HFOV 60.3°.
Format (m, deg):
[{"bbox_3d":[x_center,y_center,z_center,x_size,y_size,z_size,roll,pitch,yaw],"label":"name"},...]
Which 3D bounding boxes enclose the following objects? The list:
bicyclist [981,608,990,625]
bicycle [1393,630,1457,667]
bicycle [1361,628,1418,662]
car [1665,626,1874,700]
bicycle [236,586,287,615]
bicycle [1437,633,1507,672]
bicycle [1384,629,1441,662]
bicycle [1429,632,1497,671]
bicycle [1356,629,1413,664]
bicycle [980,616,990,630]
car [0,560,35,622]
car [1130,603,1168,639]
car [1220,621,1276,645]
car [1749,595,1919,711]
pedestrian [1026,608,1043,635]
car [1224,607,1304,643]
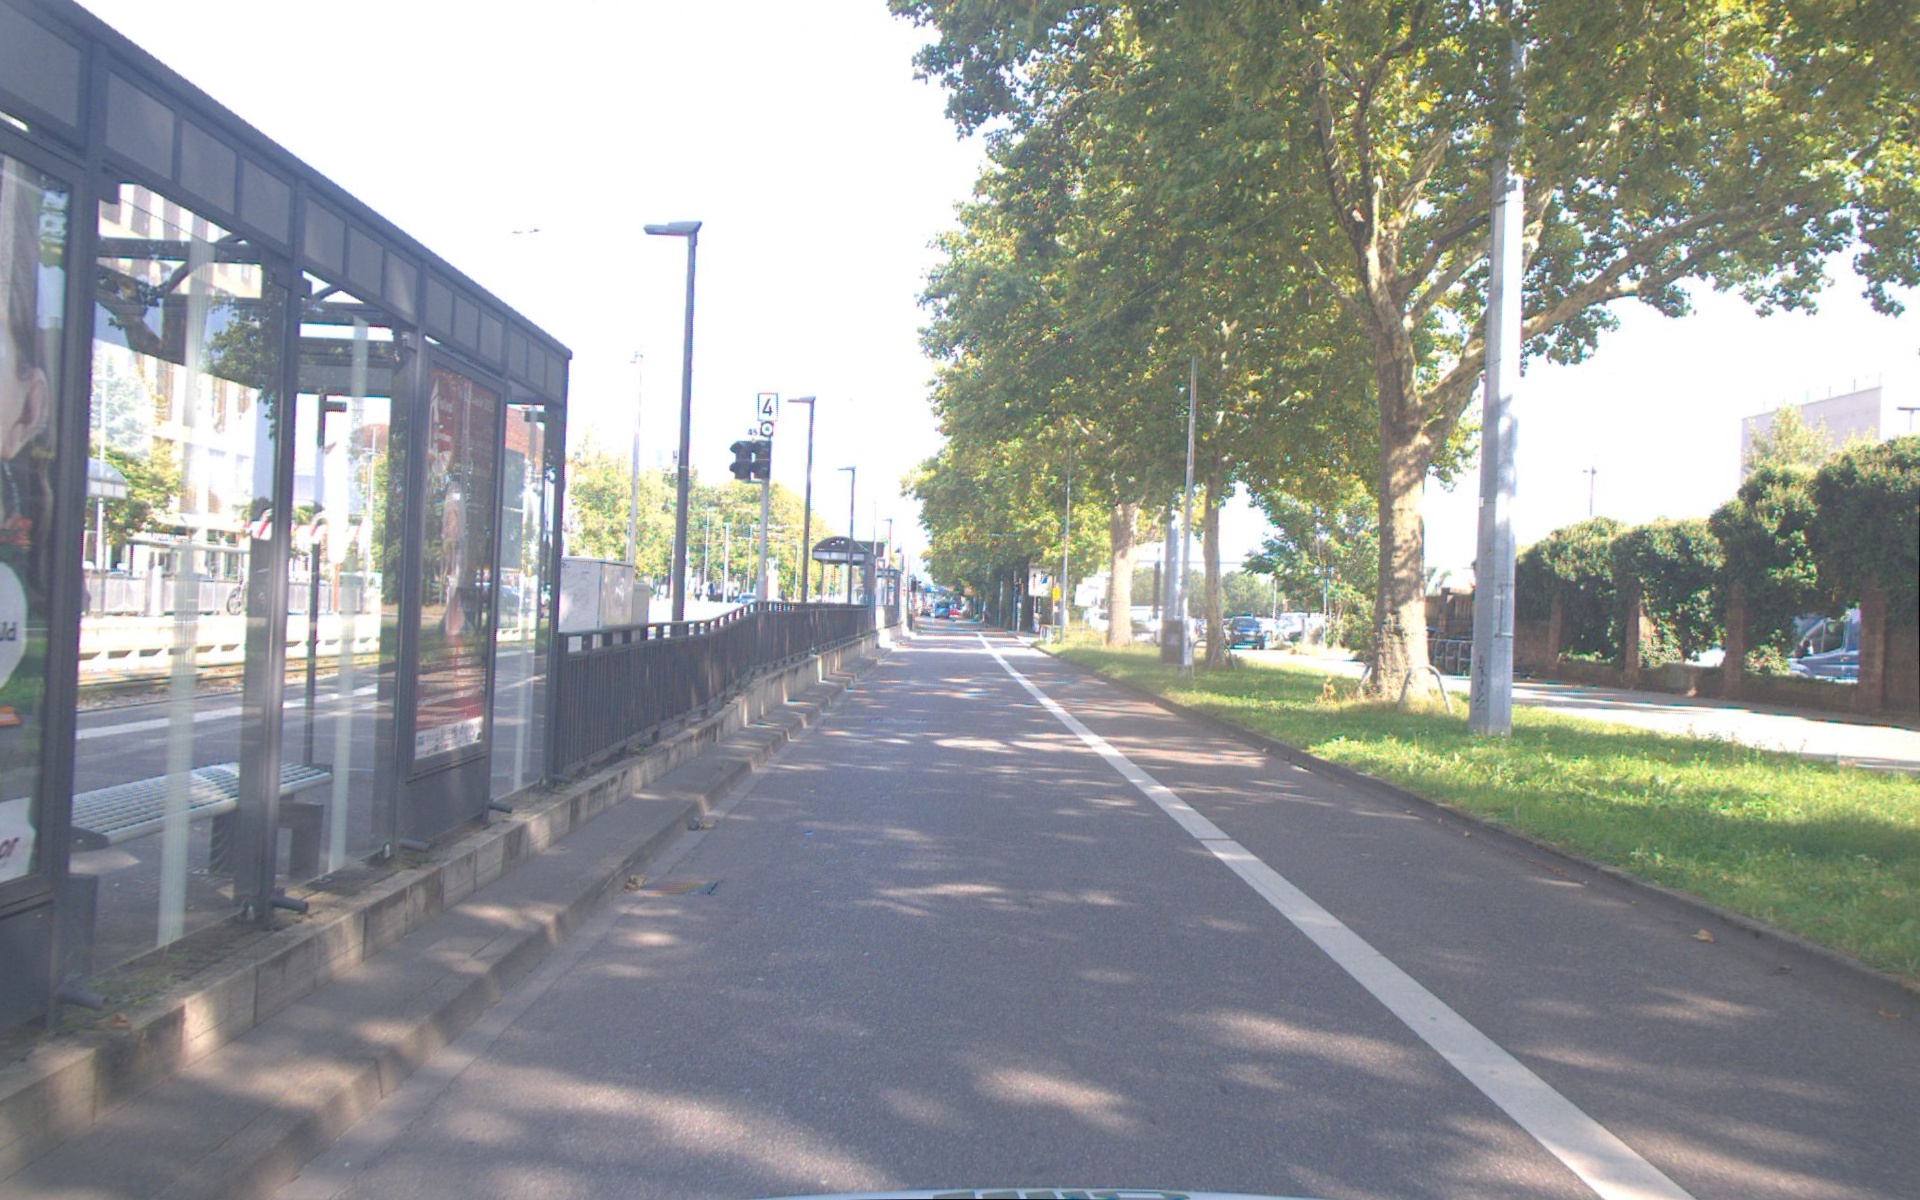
[{"bbox_3d":[2.222,1.472,145.305,0.691,1.486,1.009,3,-1,0],"label":"bicyclist"},{"bbox_3d":[12.871,1.344,45.789,1.621,0.986,0.506,0,0,4],"label":"bicycle"},{"bbox_3d":[12.741,1.334,49.122,0.502,0.986,1.636,1,-1,-42],"label":"bicycle"},{"bbox_3d":[20.873,1.599,42.785,4.426,1.704,1.977,2,0,3],"label":"car"},{"bbox_3d":[-17.126,0.013,40.600,0.467,0.674,1.614,2,0,4],"label":"bicycle"},{"bbox_3d":[13.064,1.338,42.224,1.622,0.986,0.506,0,0,0],"label":"bicycle"},{"bbox_3d":[13.780,1.393,50.378,1.622,0.986,0.506,0,0,2],"label":"bicycle"},{"bbox_3d":[13.056,1.333,42.966,1.621,0.986,0.506,0,0,4],"label":"bicycle"},{"bbox_3d":[12.428,1.347,48.454,0.502,0.986,1.636,1,-1,-42],"label":"bicycle"},{"bbox_3d":[2.195,2.016,145.145,0.700,1.127,2.508,3,-1,0],"label":"bicycle"},{"bbox_3d":[-25.312,-0.266,41.714,1.609,1.577,4.222,2,0,-1],"label":"car"},{"bbox_3d":[11.404,1.232,99.804,1.687,2.084,4.461,2,0,0],"label":"car"},{"bbox_3d":[20.275,2.294,116.558,3.695,1.471,1.528,3,-1,6],"label":"car"},{"bbox_3d":[20.553,1.183,36.706,5.024,2.410,2.131,2,0,2],"label":"car"},{"bbox_3d":[4.615,1.351,102.662,0.614,1.646,0.841,1,0,37],"label":"pedestrian"},{"bbox_3d":[15.816,1.292,85.917,4.205,1.708,1.704,2,-1,-38],"label":"car"}]
